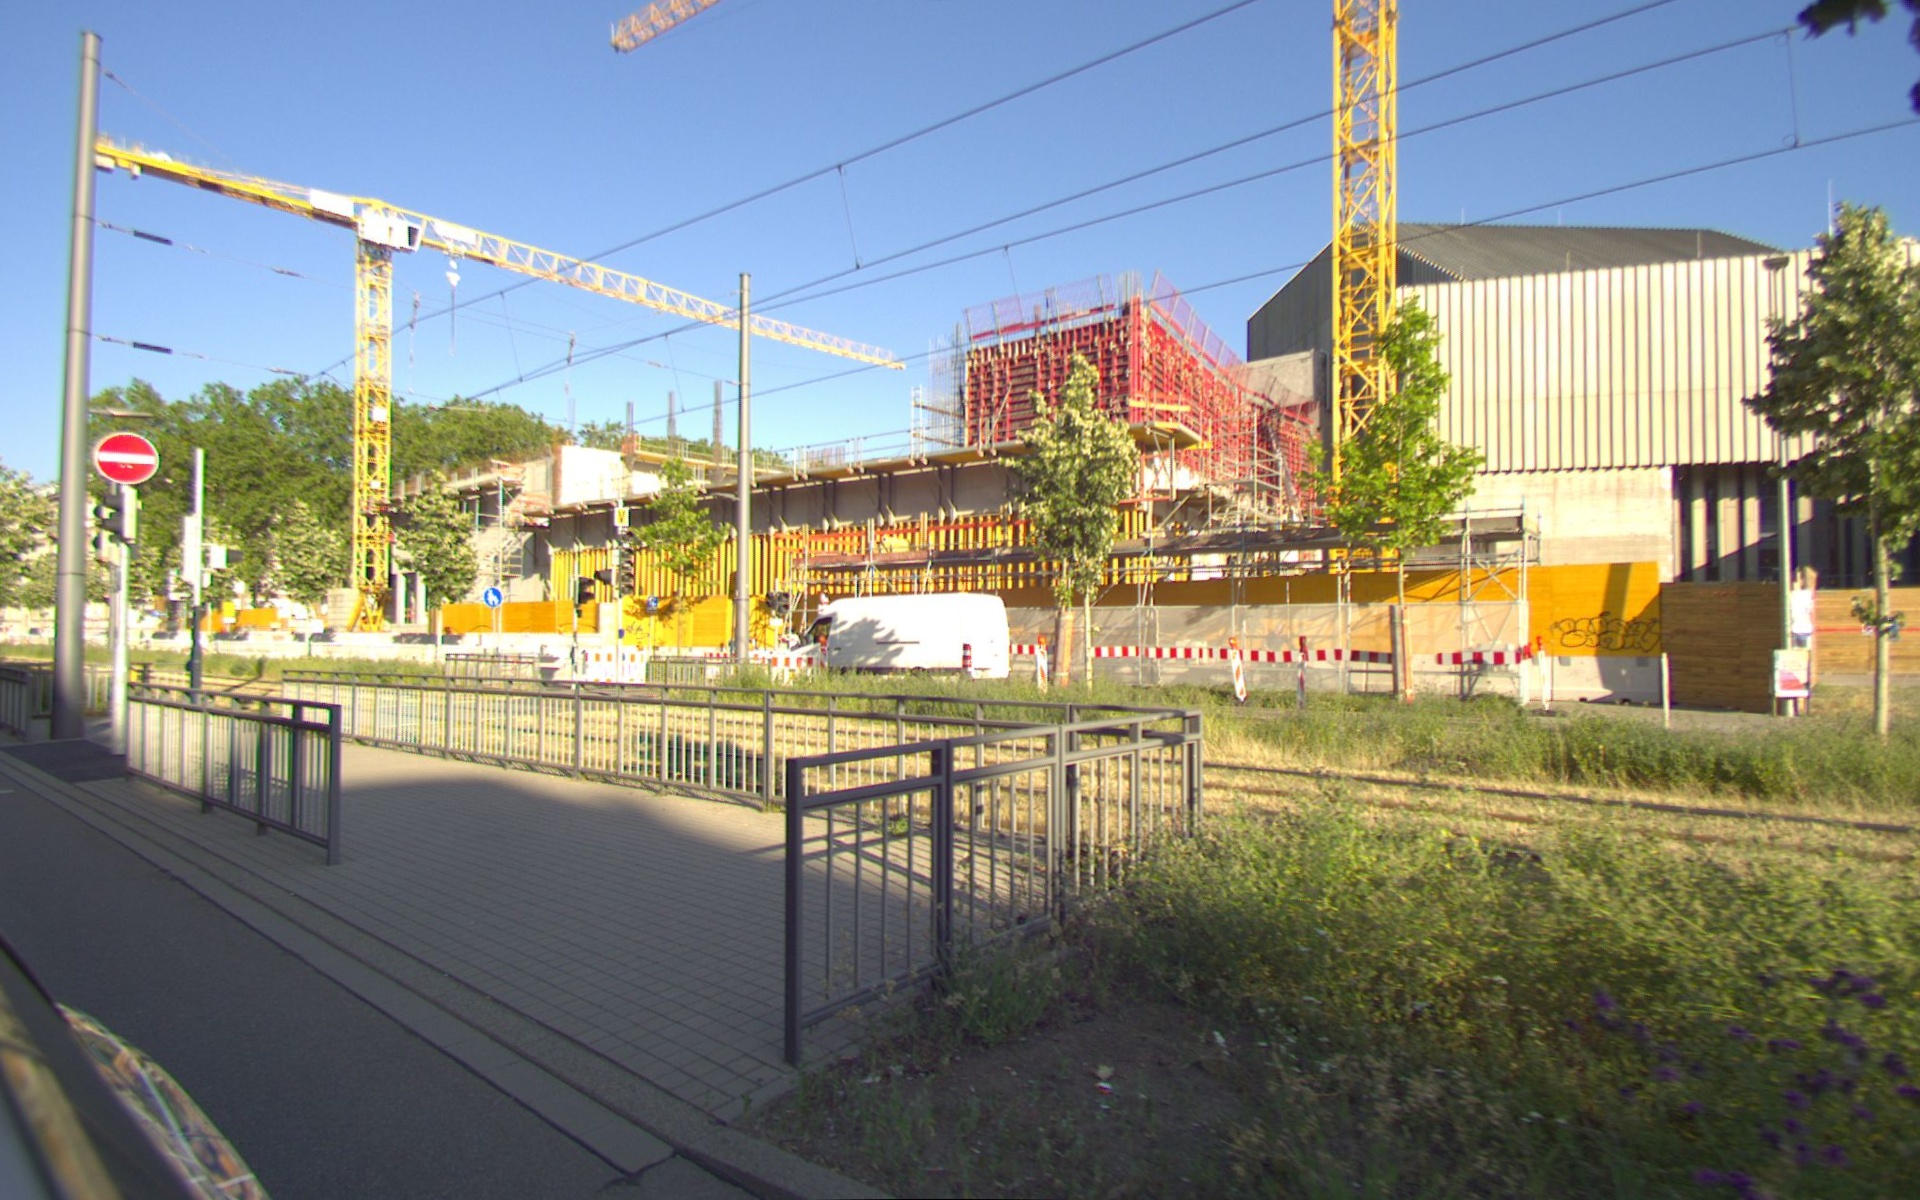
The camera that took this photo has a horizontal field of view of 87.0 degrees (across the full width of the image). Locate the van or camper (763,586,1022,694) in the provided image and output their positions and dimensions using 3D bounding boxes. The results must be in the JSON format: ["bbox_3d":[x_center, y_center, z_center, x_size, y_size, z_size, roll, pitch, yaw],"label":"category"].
[{"bbox_3d":[-1.955,1.094,26.815,7.189,2.529,2.200,-2,-5,38],"label":"van or camper"}]
